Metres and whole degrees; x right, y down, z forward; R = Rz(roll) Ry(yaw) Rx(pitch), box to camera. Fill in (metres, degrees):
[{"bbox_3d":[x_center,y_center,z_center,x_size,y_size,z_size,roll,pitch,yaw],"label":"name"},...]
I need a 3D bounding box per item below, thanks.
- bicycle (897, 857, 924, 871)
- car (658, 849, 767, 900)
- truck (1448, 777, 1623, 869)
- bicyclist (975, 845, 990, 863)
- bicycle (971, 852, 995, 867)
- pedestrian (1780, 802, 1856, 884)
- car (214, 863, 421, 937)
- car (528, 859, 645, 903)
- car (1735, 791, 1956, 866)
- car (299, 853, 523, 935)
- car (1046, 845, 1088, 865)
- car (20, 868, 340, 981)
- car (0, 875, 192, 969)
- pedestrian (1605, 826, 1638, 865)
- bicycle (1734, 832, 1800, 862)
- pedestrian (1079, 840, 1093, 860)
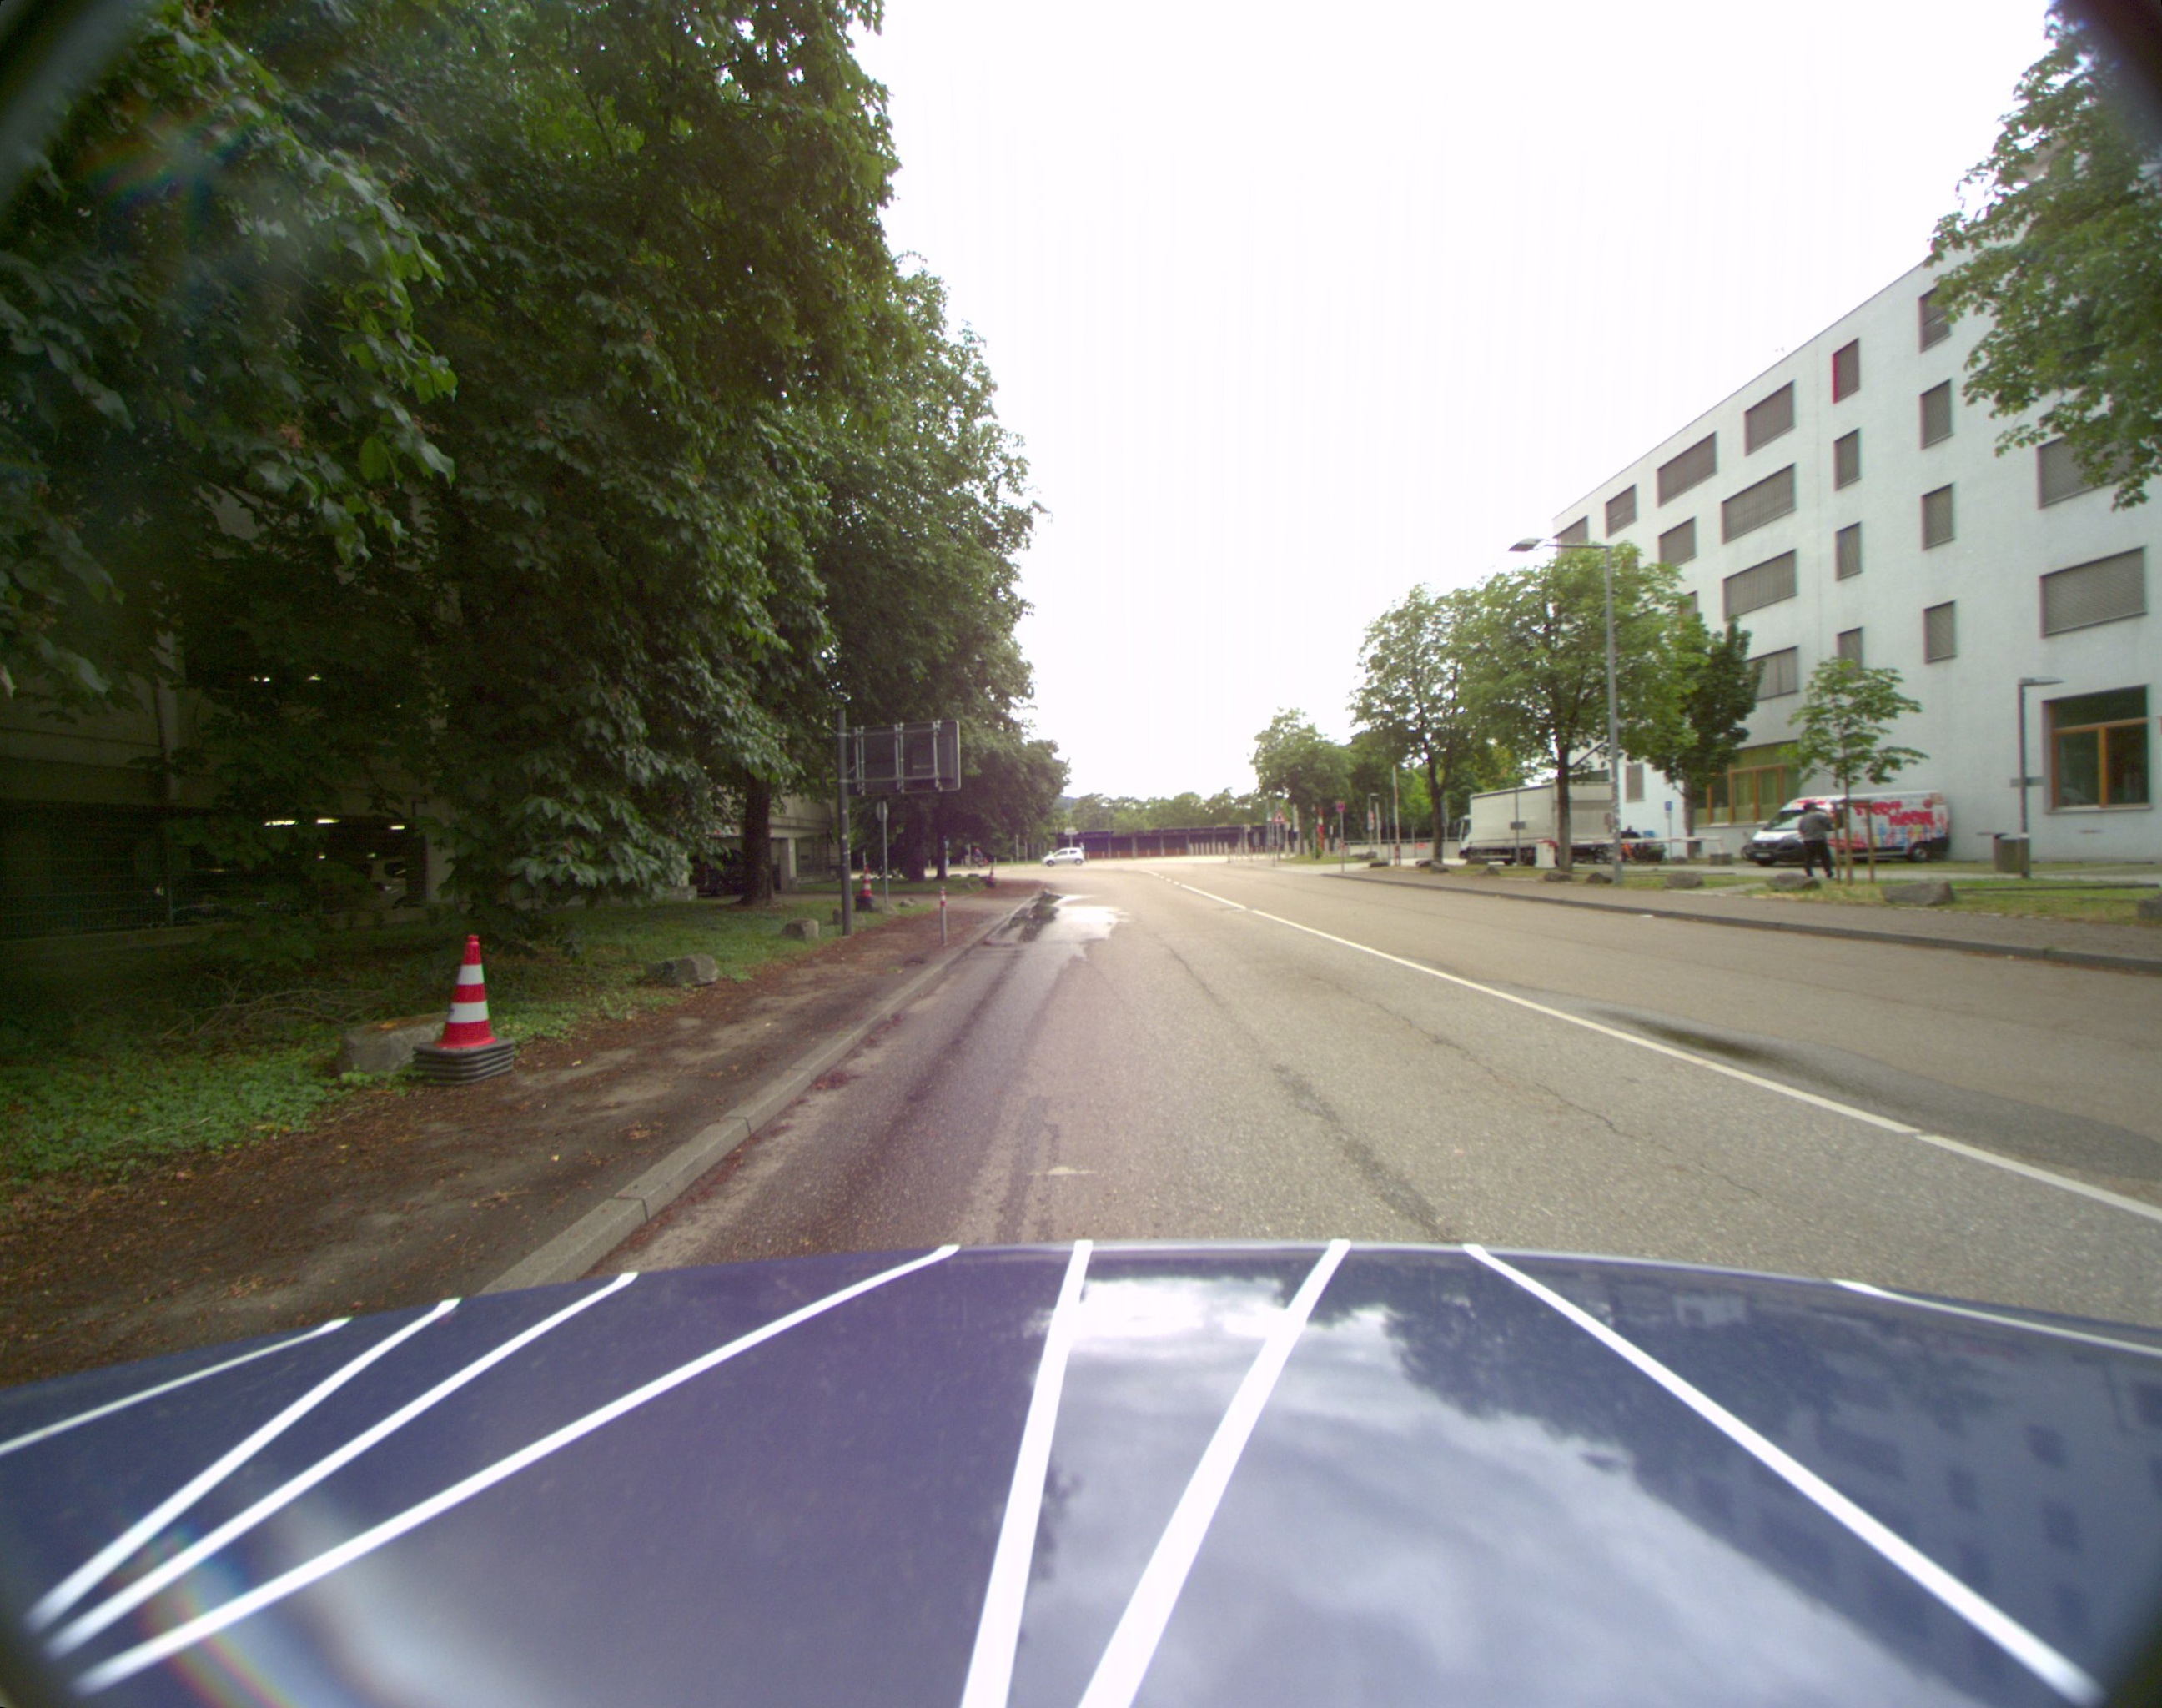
[{"bbox_3d":[-15.306,0.879,68.230,2.257,1.117,0.748,-3,2,-3],"label":"bicycle"},{"bbox_3d":[-14.658,0.745,30.578,1.924,1.824,4.735,-3,1,0],"label":"car"},{"bbox_3d":[20.388,-1.364,34.849,2.684,3.580,8.361,-3,2,-2],"label":"truck"},{"bbox_3d":[-8.830,-0.007,68.224,1.101,1.487,0.927,-3,3,-1],"label":"bicyclist"},{"bbox_3d":[-8.799,0.496,68.246,2.050,1.137,0.777,-3,3,-1],"label":"bicycle"},{"bbox_3d":[15.654,-0.235,16.148,0.846,1.662,0.786,-3,2,-6],"label":"pedestrian"},{"bbox_3d":[-20.266,1.159,20.418,1.721,1.577,3.690,-3,2,-1],"label":"car"},{"bbox_3d":[-20.010,1.060,30.990,1.876,1.445,4.000,-3,2,4],"label":"car"},{"bbox_3d":[26.602,-0.886,26.576,5.640,2.266,2.078,-3,2,0],"label":"car"},{"bbox_3d":[-17.251,0.923,19.957,1.589,1.699,4.666,-3,2,1],"label":"car"},{"bbox_3d":[-1.233,0.076,65.033,3.501,1.448,1.606,-3,2,-2],"label":"car"},{"bbox_3d":[-17.476,1.255,15.090,1.589,1.699,3.856,-3,2,1],"label":"car"},{"bbox_3d":[-20.374,1.312,14.773,1.721,1.537,3.700,-3,2,-1],"label":"car"},{"bbox_3d":[23.106,-0.355,32.505,0.679,1.597,0.887,-3,2,-12],"label":"pedestrian"},{"bbox_3d":[27.617,-0.282,30.592,2.029,1.064,0.613,-3,2,4],"label":"bicycle"},{"bbox_3d":[0.465,-0.403,72.692,1.200,1.824,0.927,-3,3,4],"label":"pedestrian"}]
